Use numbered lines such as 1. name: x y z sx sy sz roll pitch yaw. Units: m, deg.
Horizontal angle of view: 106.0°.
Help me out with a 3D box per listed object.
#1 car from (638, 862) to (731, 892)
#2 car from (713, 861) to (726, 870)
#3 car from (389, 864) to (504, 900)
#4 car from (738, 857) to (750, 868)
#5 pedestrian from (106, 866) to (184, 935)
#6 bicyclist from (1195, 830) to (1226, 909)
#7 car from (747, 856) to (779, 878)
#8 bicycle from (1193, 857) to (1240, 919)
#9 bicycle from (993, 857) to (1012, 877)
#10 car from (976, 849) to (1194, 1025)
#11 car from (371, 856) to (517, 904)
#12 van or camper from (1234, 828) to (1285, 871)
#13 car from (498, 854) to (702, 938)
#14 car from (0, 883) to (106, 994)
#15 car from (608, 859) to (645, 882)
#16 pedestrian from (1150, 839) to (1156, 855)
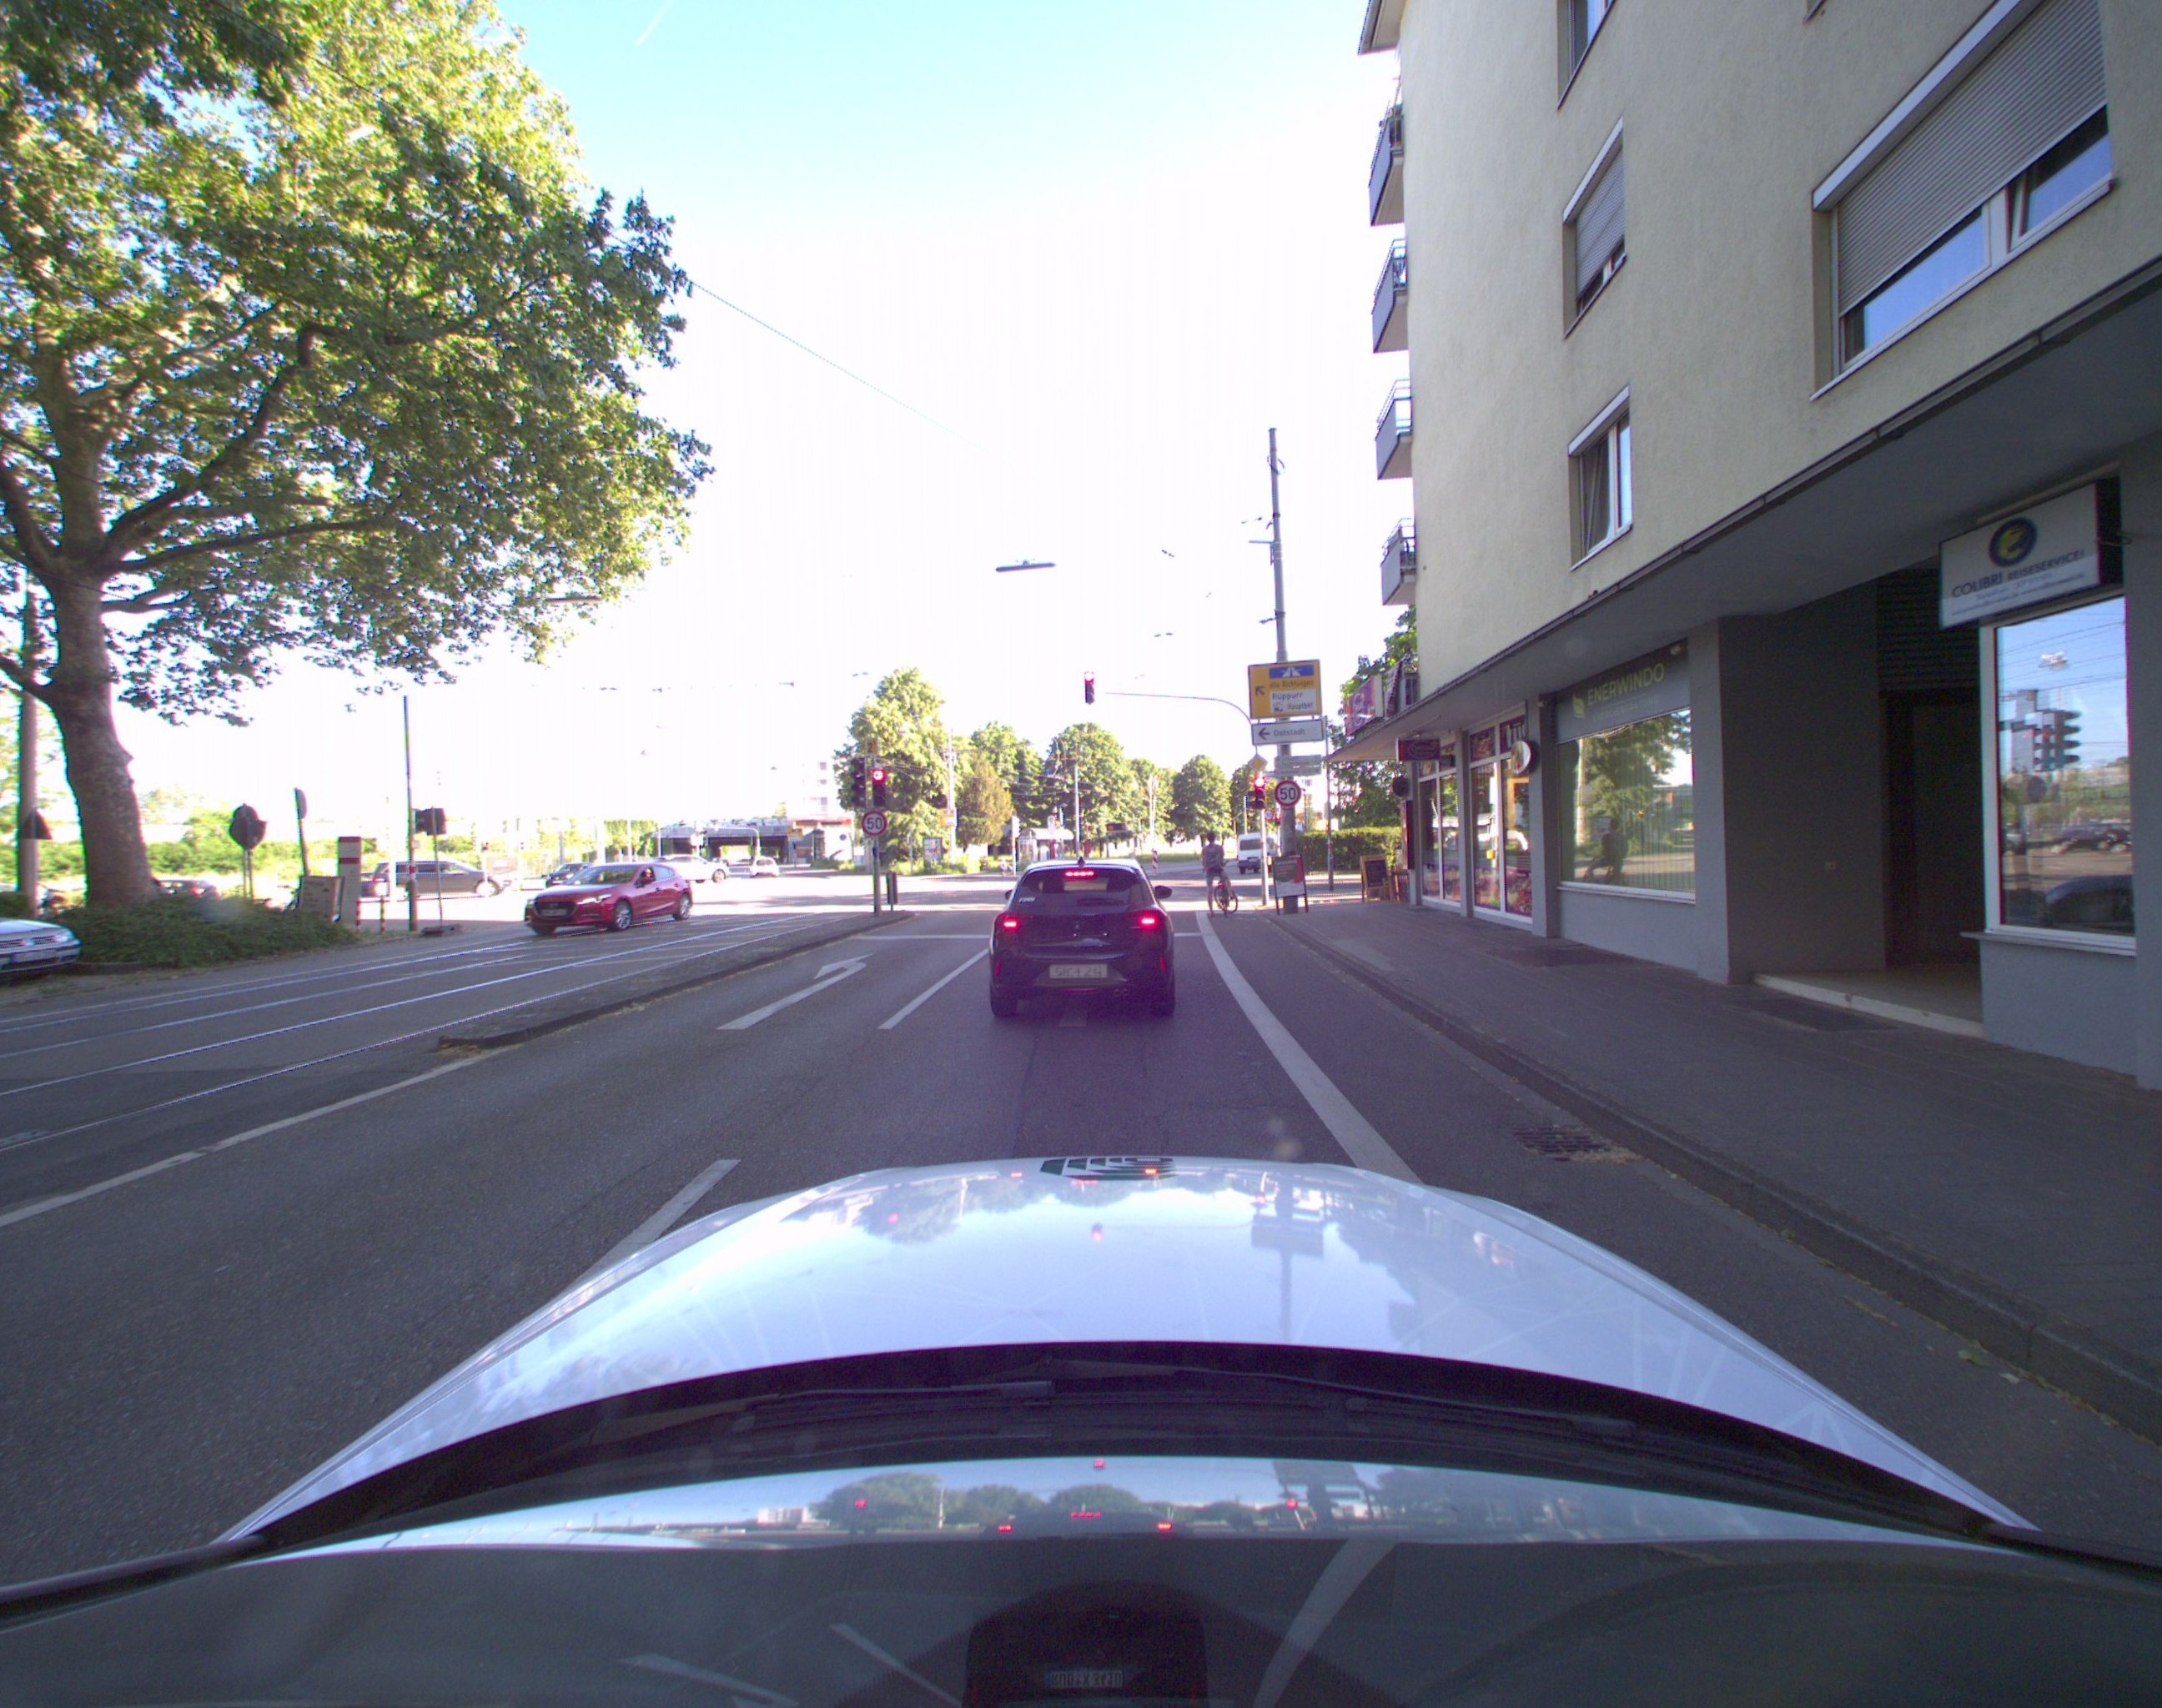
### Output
1. car: -21.568 1.232 44.418 1.780 1.519 4.232 -1 -1 39
2. car: -56.228 1.759 126.620 1.587 1.260 3.397 -2 0 -28
3. car: -32.124 1.390 41.333 1.688 1.555 4.289 -2 0 38
4. car: -54.311 1.392 131.207 1.761 1.684 3.713 0 -1 -22
5. pedestrian: -23.251 1.134 20.258 0.842 1.647 0.931 0 -1 1
6. bicyclist: 2.828 0.328 17.808 0.529 1.692 0.571 -2 0 19
7. car: -23.753 0.983 60.748 2.000 1.552 4.162 0 -1 -25
8. bicycle: 3.015 0.712 17.931 0.747 1.235 2.024 -2 0 16
9. bicycle: -4.488 0.732 46.605 0.793 1.064 2.186 -2 0 2
10. car: 0.097 0.700 8.950 1.833 1.462 3.985 -1 0 2
11. car: -28.696 1.130 36.913 4.858 1.881 1.897 -2 0 -28
12. van or camper: 10.200 -0.228 46.252 2.011 2.310 4.565 -1 -1 23
13. car: -10.529 0.823 18.303 2.011 1.565 4.488 -1 0 -2
14. car: -16.625 1.194 11.360 3.957 1.453 1.670 -1 0 -1
15. car: -33.661 1.203 60.411 1.892 1.585 3.809 0 -1 -21
16. pedestrian: 8.907 -0.860 100.882 0.608 1.872 0.514 0 -1 -36
